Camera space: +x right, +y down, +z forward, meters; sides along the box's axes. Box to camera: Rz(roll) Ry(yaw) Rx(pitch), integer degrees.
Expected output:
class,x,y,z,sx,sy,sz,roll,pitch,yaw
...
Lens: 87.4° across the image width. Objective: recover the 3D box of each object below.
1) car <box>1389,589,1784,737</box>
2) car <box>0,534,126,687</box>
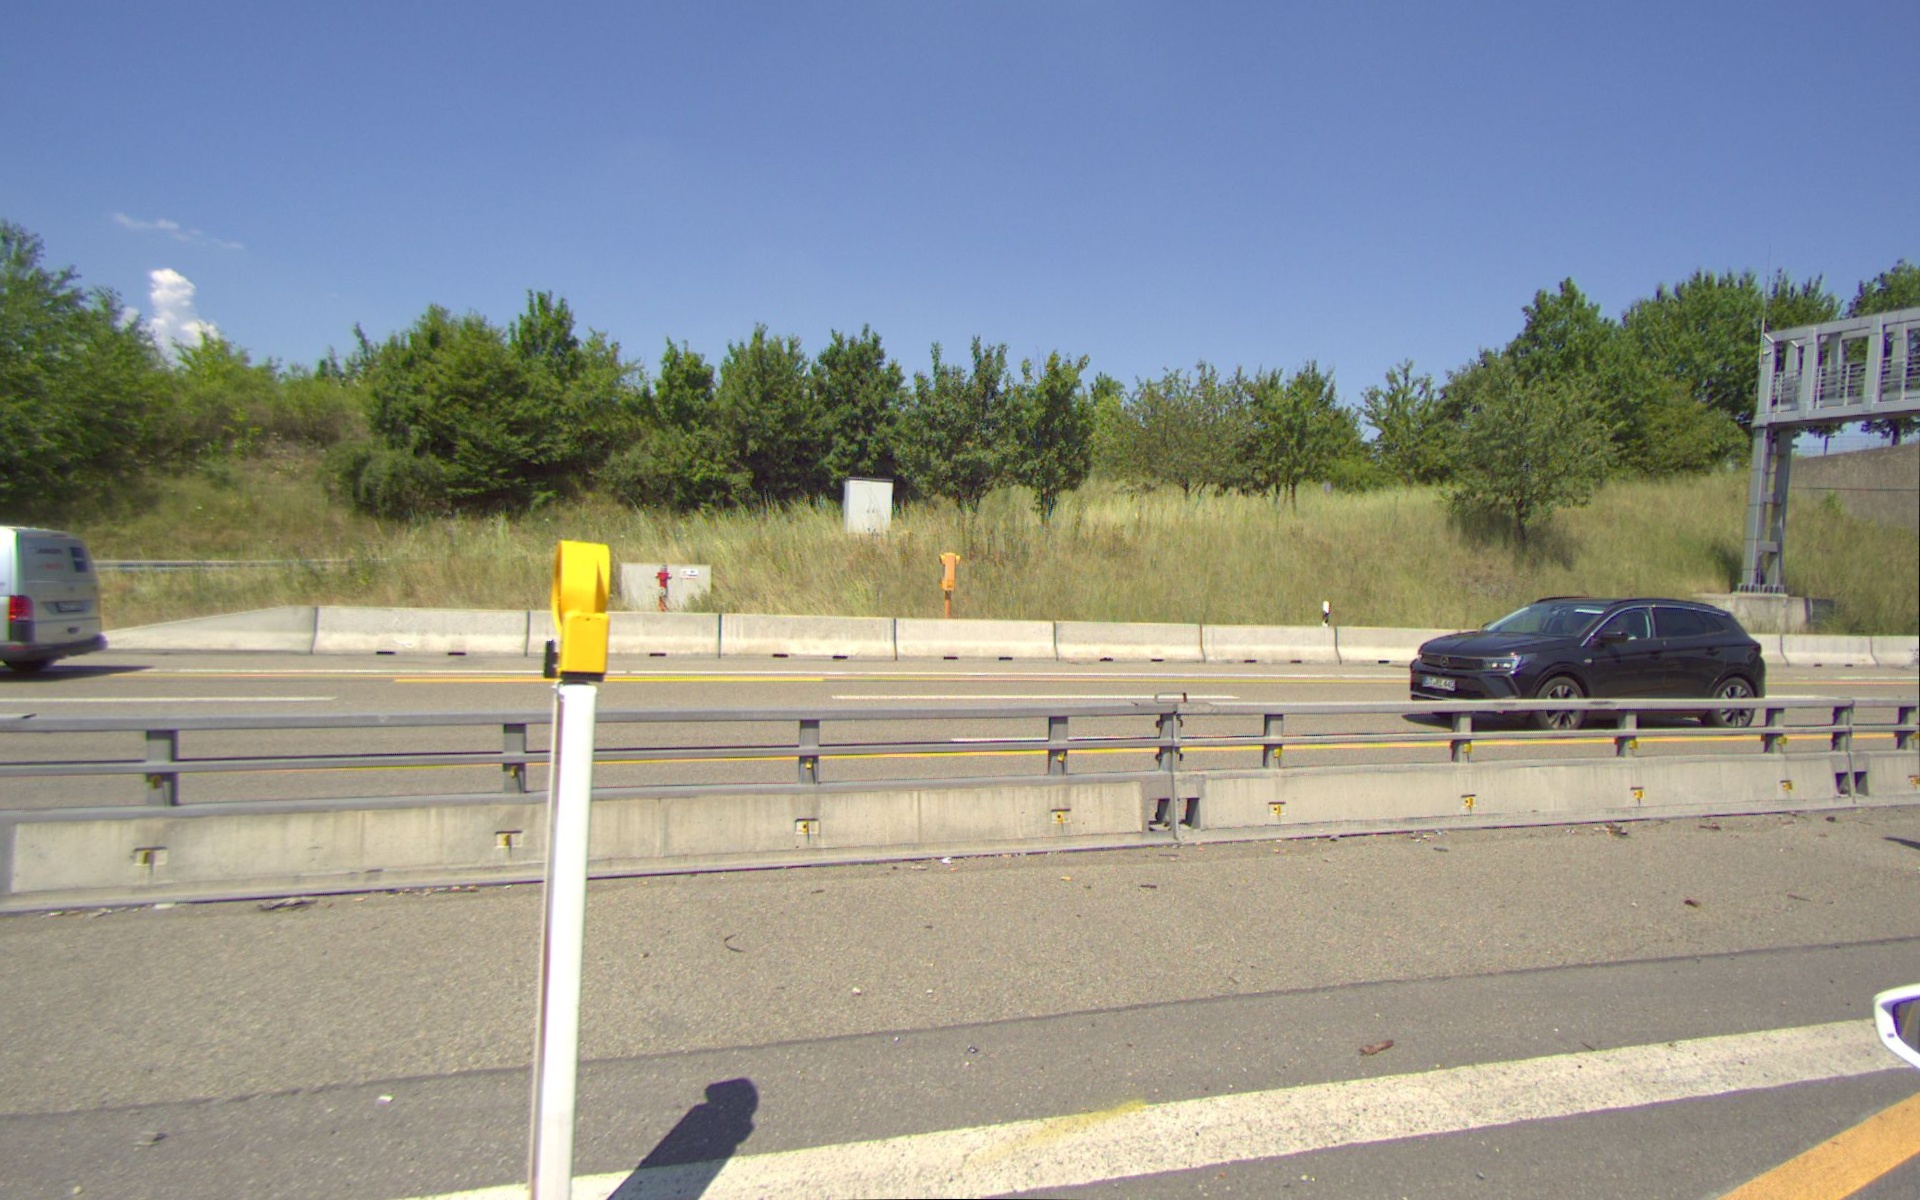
class,x,y,z,sx,sy,sz,roll,pitch,yaw
car,7.666,0.735,12.393,4.157,1.615,1.743,2,1,-15
car,-13.668,0.050,12.493,4.710,1.859,1.687,2,0,-17
